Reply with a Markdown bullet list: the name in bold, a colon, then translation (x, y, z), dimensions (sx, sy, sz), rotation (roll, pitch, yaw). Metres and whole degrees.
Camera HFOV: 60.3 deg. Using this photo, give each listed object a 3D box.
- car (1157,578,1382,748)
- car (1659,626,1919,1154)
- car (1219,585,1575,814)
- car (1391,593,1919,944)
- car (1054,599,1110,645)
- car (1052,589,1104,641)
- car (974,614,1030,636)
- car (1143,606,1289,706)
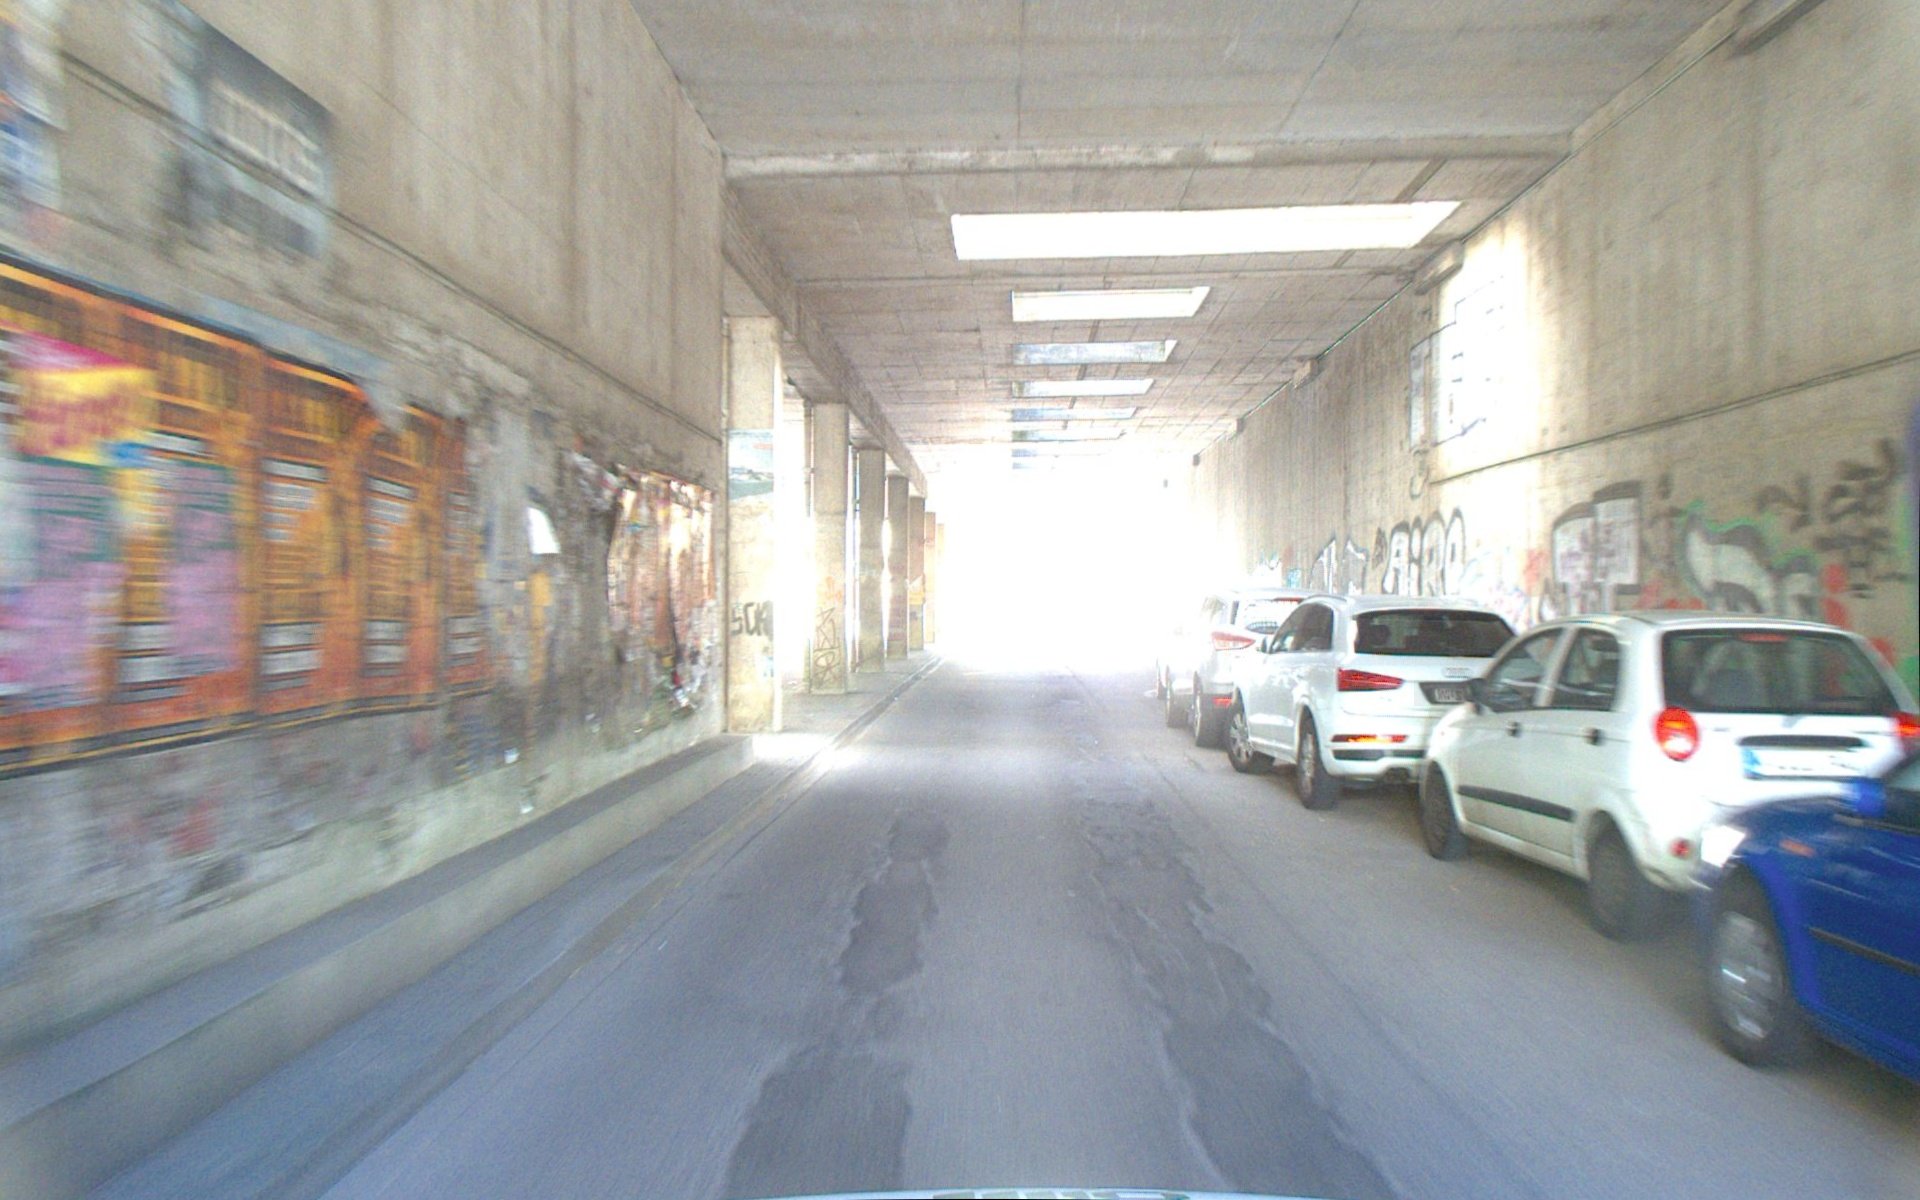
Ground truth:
- **car**: translation (3.385, 0.622, 18.902), dimensions (1.814, 1.695, 4.371), rotation (1, 0, 1)
- **car**: translation (3.482, 0.793, 4.208), dimensions (1.725, 1.435, 4.063), rotation (0, -1, 1)
- **car**: translation (3.339, 0.706, 13.471), dimensions (1.694, 1.573, 4.154), rotation (0, -1, -2)
- **car**: translation (3.690, 0.748, 9.012), dimensions (1.571, 1.513, 3.635), rotation (0, -1, -3)
- **car**: translation (4.154, 0.742, 57.013), dimensions (1.788, 1.527, 4.212), rotation (0, 0, 2)
- **car**: translation (4.487, 0.566, 63.457), dimensions (1.777, 1.915, 4.586), rotation (0, 0, 2)
- **car**: translation (3.044, 1.801, 120.019), dimensions (3.902, 1.601, 1.641), rotation (0, -1, 6)
- **car**: translation (3.909, 0.813, 25.869), dimensions (1.666, 1.398, 4.374), rotation (1, 0, 1)
